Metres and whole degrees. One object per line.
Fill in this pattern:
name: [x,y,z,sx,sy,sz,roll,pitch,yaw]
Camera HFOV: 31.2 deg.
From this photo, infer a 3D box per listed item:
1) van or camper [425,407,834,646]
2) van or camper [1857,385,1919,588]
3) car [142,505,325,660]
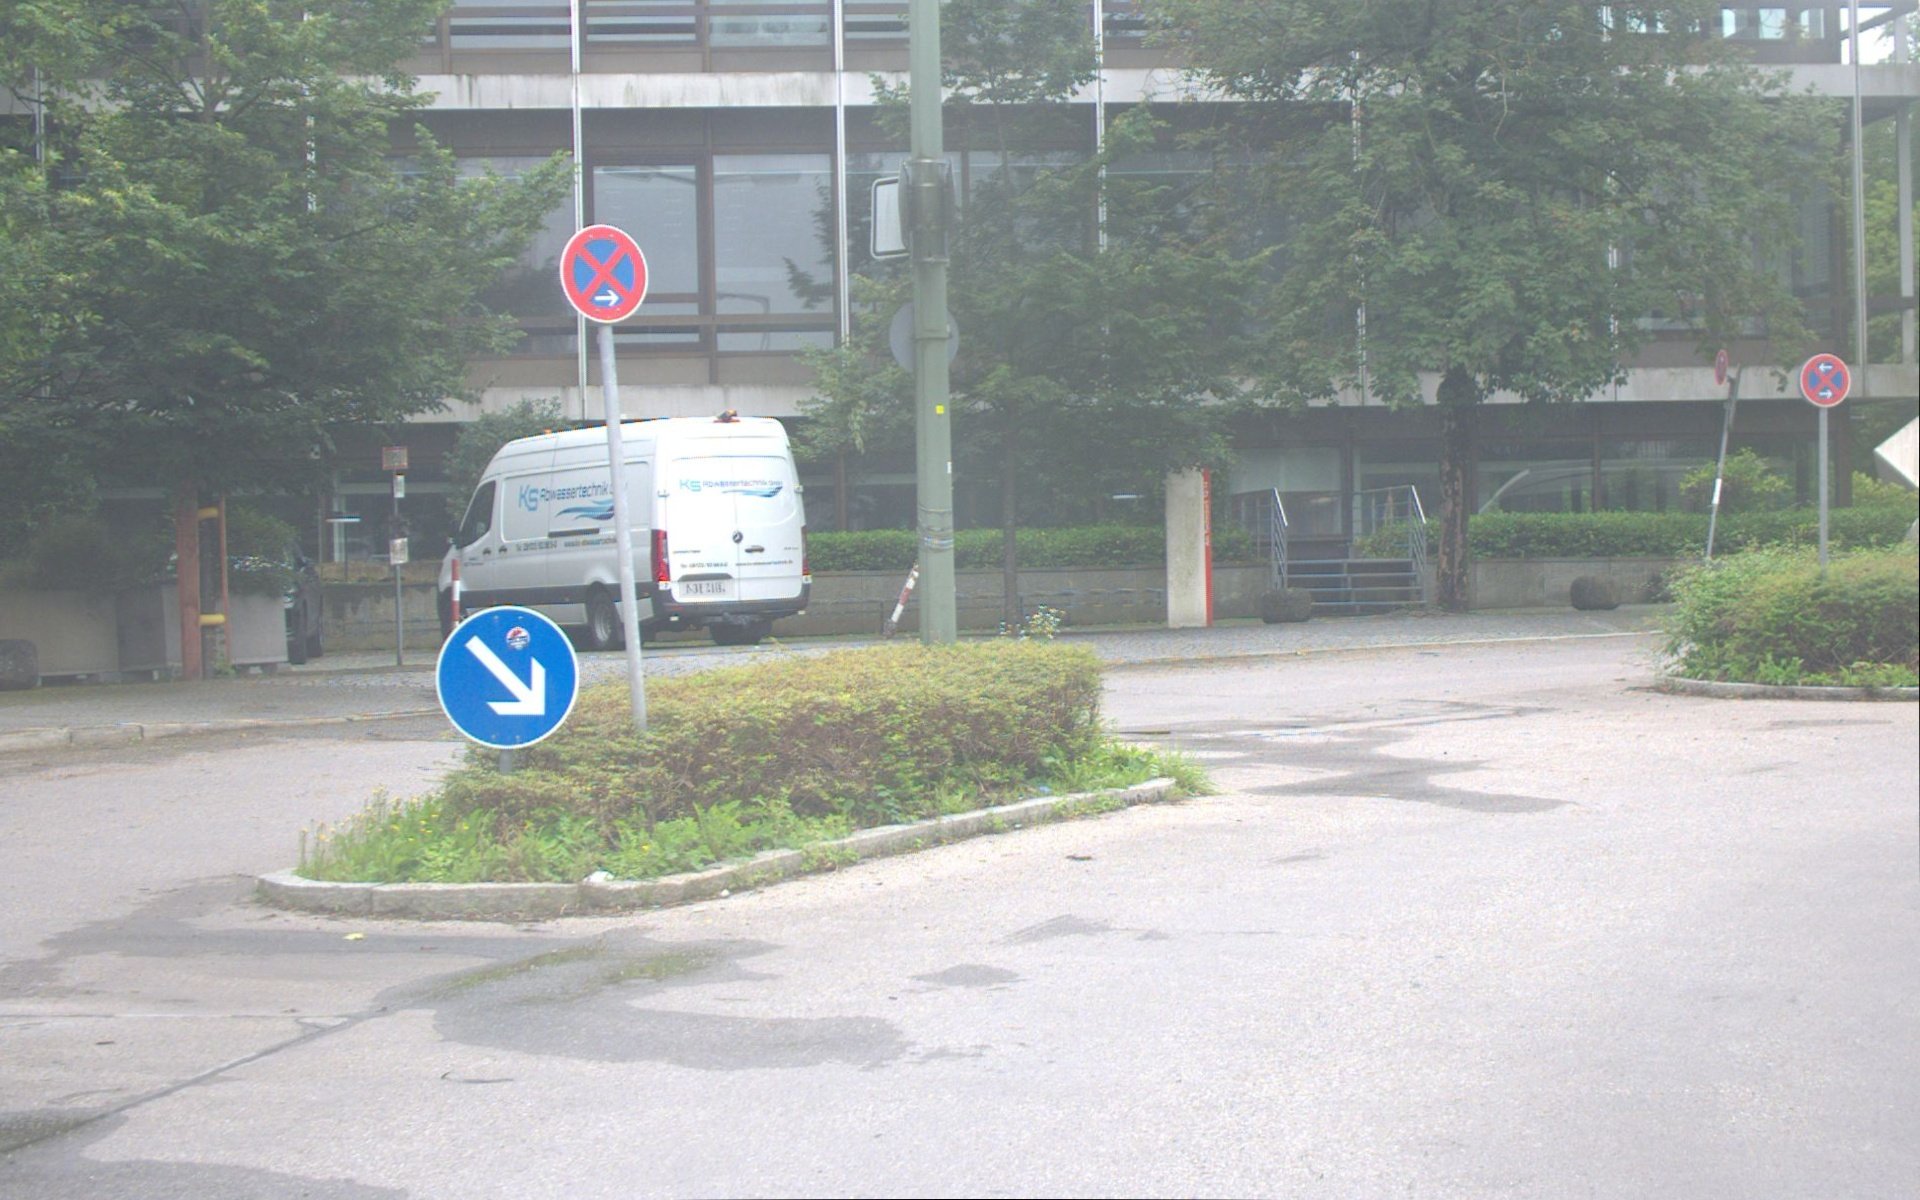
van or camper: [-4.077,-0.791,41.024,2.156,2.572,6.538,-1,0,-31]
van or camper: [13.782,-1.359,39.763,6.396,2.273,2.256,-2,1,-19]
car: [-8.689,-0.242,41.398,1.941,1.715,4.240,-2,1,-10]
